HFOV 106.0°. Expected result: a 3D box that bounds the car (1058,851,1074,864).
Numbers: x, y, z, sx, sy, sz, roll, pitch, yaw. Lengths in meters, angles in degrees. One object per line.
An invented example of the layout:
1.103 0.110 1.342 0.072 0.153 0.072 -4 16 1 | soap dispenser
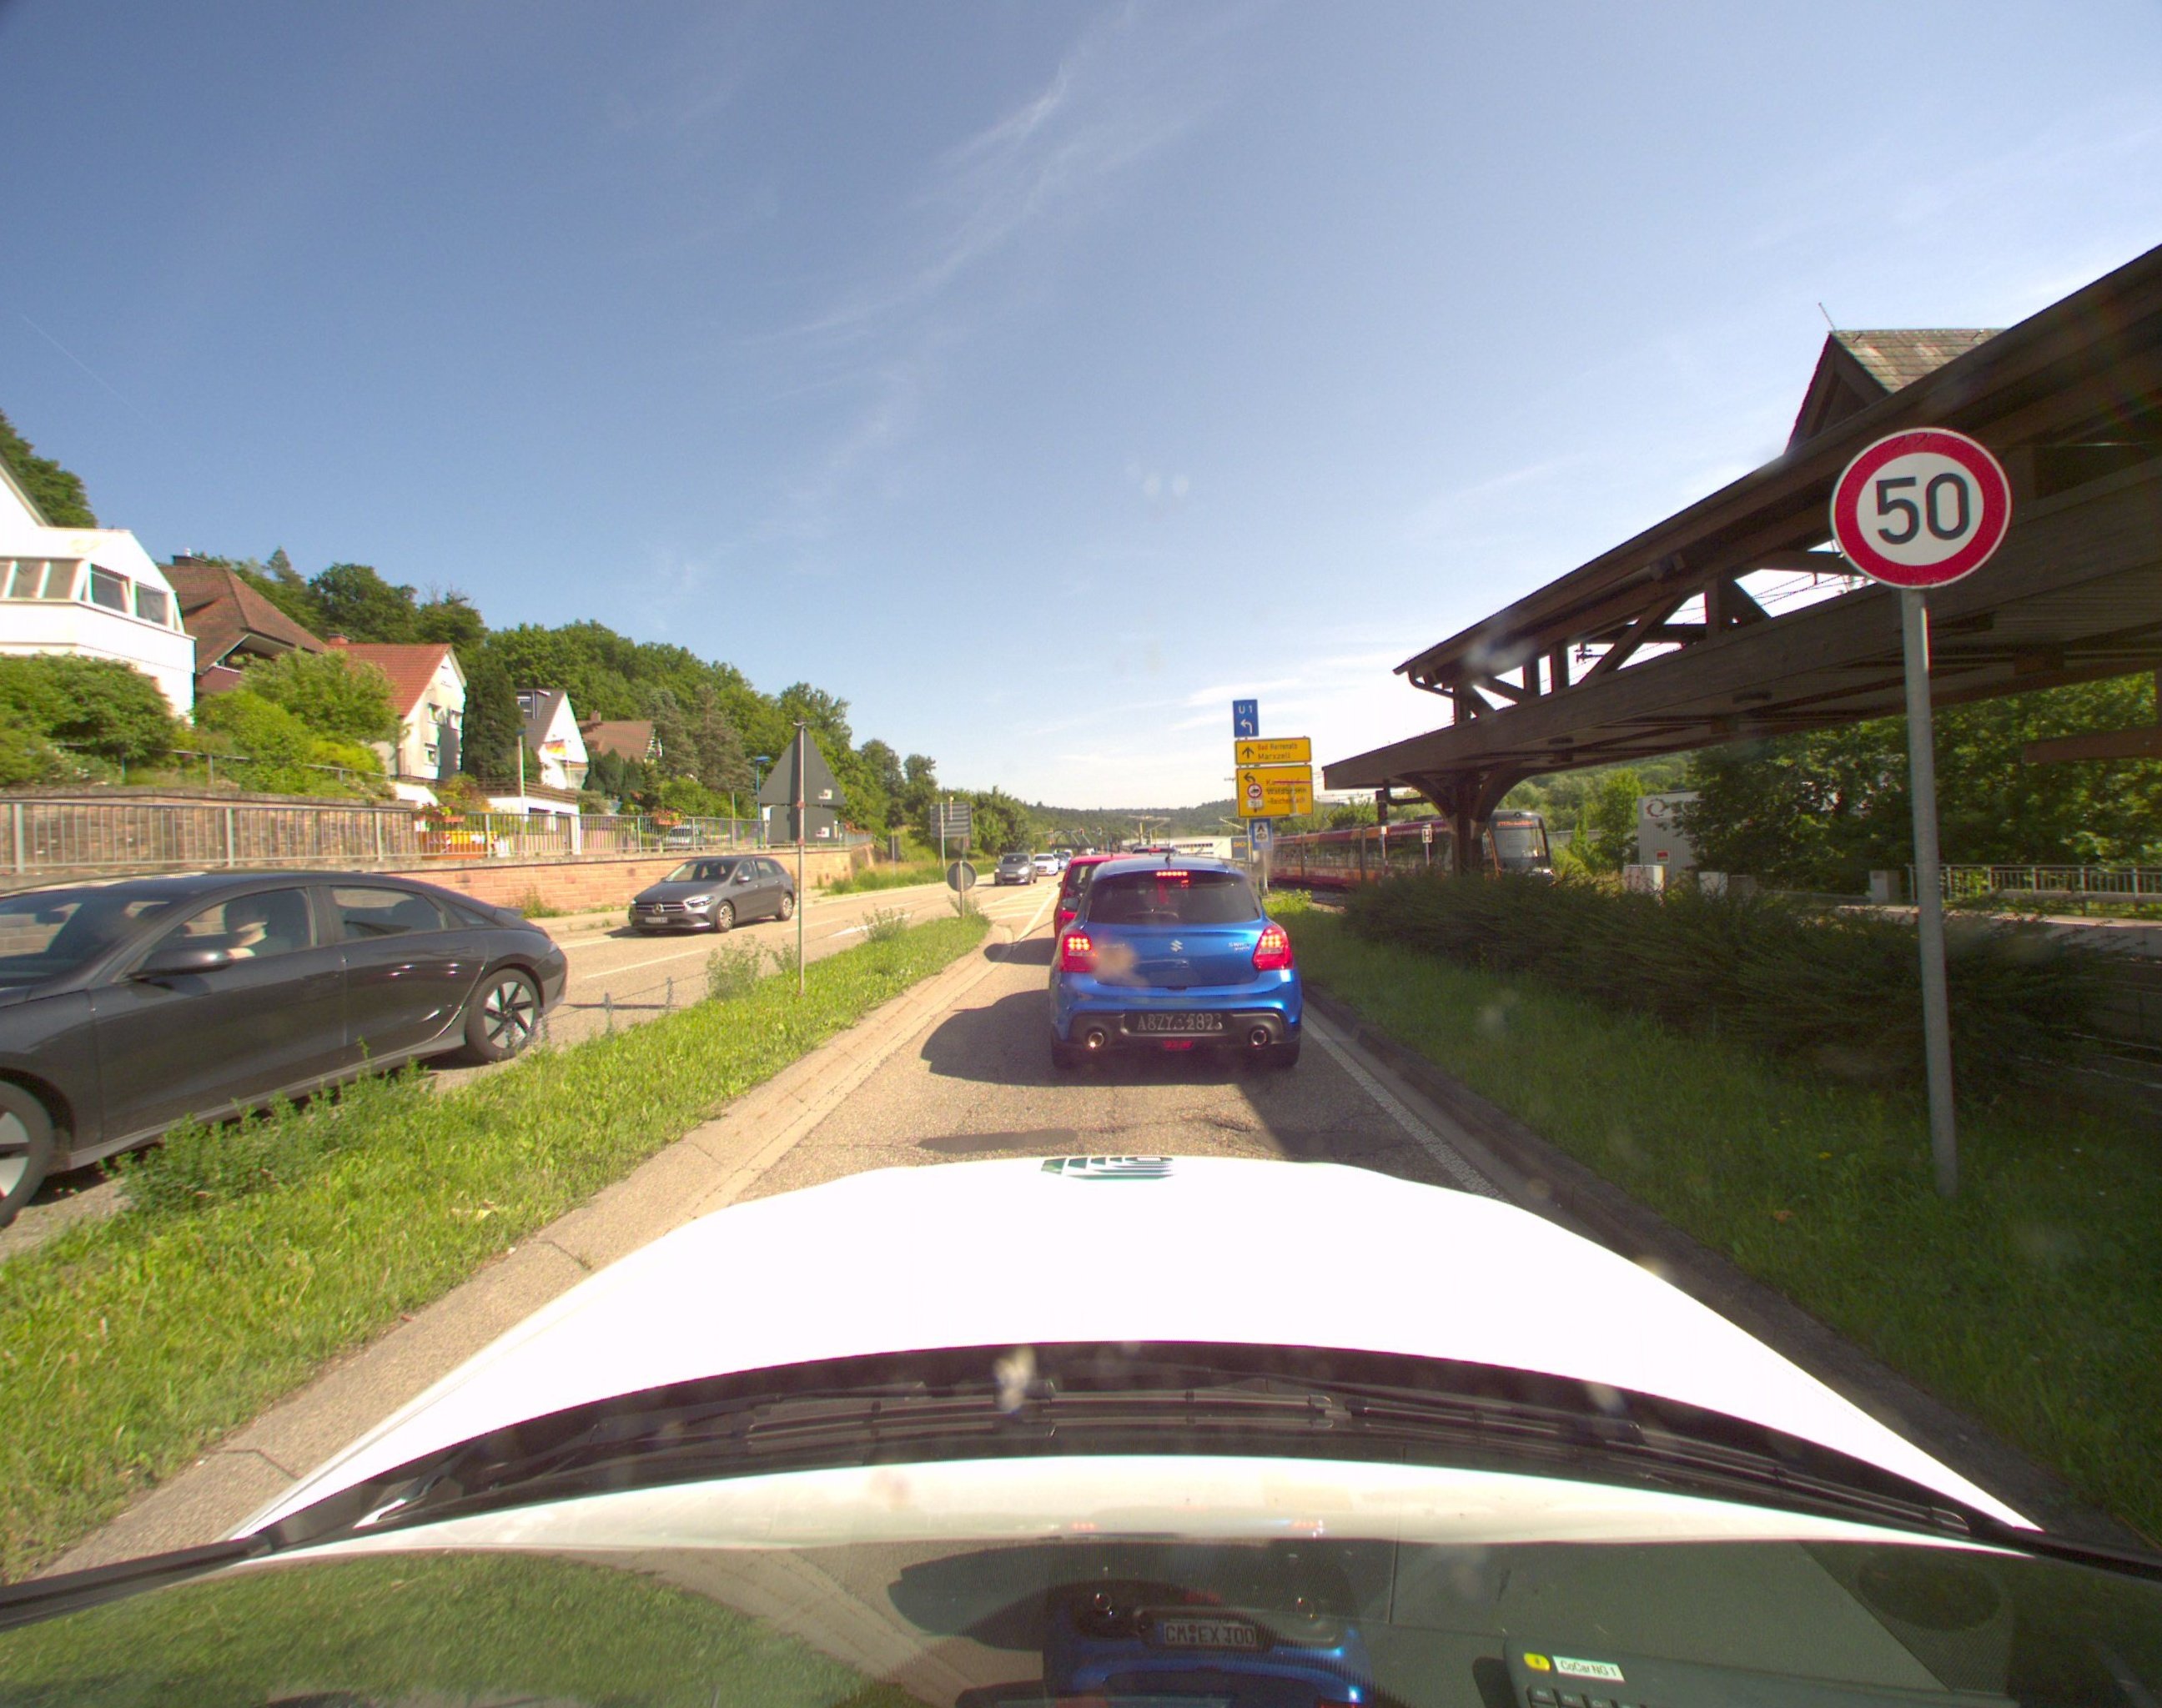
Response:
-2.033 0.440 108.532 1.825 1.713 3.814 0 1 3 | car

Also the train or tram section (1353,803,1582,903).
15.574 -0.049 34.896 2.847 3.365 14.349 -1 0 -1 | train or tram section

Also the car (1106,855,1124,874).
3.903 1.200 94.203 1.986 2.013 4.002 0 1 2 | car

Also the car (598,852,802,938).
-7.896 0.771 17.473 1.985 1.564 4.514 -1 0 4 | car

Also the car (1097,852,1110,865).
3.685 0.661 133.450 1.986 2.013 4.002 0 1 2 | car

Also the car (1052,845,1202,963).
0.731 0.668 12.819 1.985 1.571 4.004 0 0 3 | car

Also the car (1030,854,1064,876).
-2.181 0.697 53.729 1.825 1.369 3.953 0 1 3 | car

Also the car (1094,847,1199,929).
1.400 0.639 18.075 1.985 1.531 4.606 -2 0 3 | car

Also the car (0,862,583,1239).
-5.241 0.833 4.637 1.785 1.470 4.718 -1 0 1 | car

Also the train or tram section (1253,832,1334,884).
15.276 0.200 59.636 2.747 3.364 12.046 0 1 0 | train or tram section

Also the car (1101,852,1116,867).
3.838 0.765 113.623 1.986 2.013 4.002 0 1 2 | car

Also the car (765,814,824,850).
-16.115 -1.240 46.116 2.017 1.920 4.724 0 1 -5 | car

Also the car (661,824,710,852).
-24.473 -0.974 50.489 1.898 1.629 3.981 -1 0 -14 | car

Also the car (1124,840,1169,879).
3.068 0.243 38.754 1.985 1.736 4.004 0 0 3 | car

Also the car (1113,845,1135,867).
4.115 0.131 78.070 1.986 2.013 4.002 0 1 2 | car

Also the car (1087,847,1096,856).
2.514 -0.605 198.533 1.986 2.144 4.722 0 0 2 | car

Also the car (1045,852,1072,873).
-1.817 0.622 65.470 1.825 1.468 3.815 1 2 3 | car

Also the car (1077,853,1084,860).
-0.064 0.655 234.722 1.986 1.739 4.002 0 1 2 | car

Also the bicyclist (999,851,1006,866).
-7.652 0.449 79.831 0.627 1.507 0.506 0 1 -2 | bicyclist

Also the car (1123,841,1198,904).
2.279 0.481 24.144 1.985 1.686 4.501 0 0 3 | car

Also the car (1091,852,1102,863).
2.995 0.686 157.821 1.986 2.013 4.002 0 1 2 | car

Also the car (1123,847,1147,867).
4.389 0.199 66.046 1.824 1.493 3.815 0 1 4 | car

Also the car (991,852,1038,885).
-3.069 0.653 38.364 1.665 1.441 3.843 -1 0 3 | car

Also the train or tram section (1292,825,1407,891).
15.383 0.230 47.959 2.777 3.364 12.045 0 0 0 | train or tram section

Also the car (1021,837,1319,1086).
0.605 0.672 7.148 1.862 1.548 4.001 -1 0 1 | car

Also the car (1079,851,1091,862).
0.776 0.410 140.443 1.986 1.783 4.002 0 0 2 | car
